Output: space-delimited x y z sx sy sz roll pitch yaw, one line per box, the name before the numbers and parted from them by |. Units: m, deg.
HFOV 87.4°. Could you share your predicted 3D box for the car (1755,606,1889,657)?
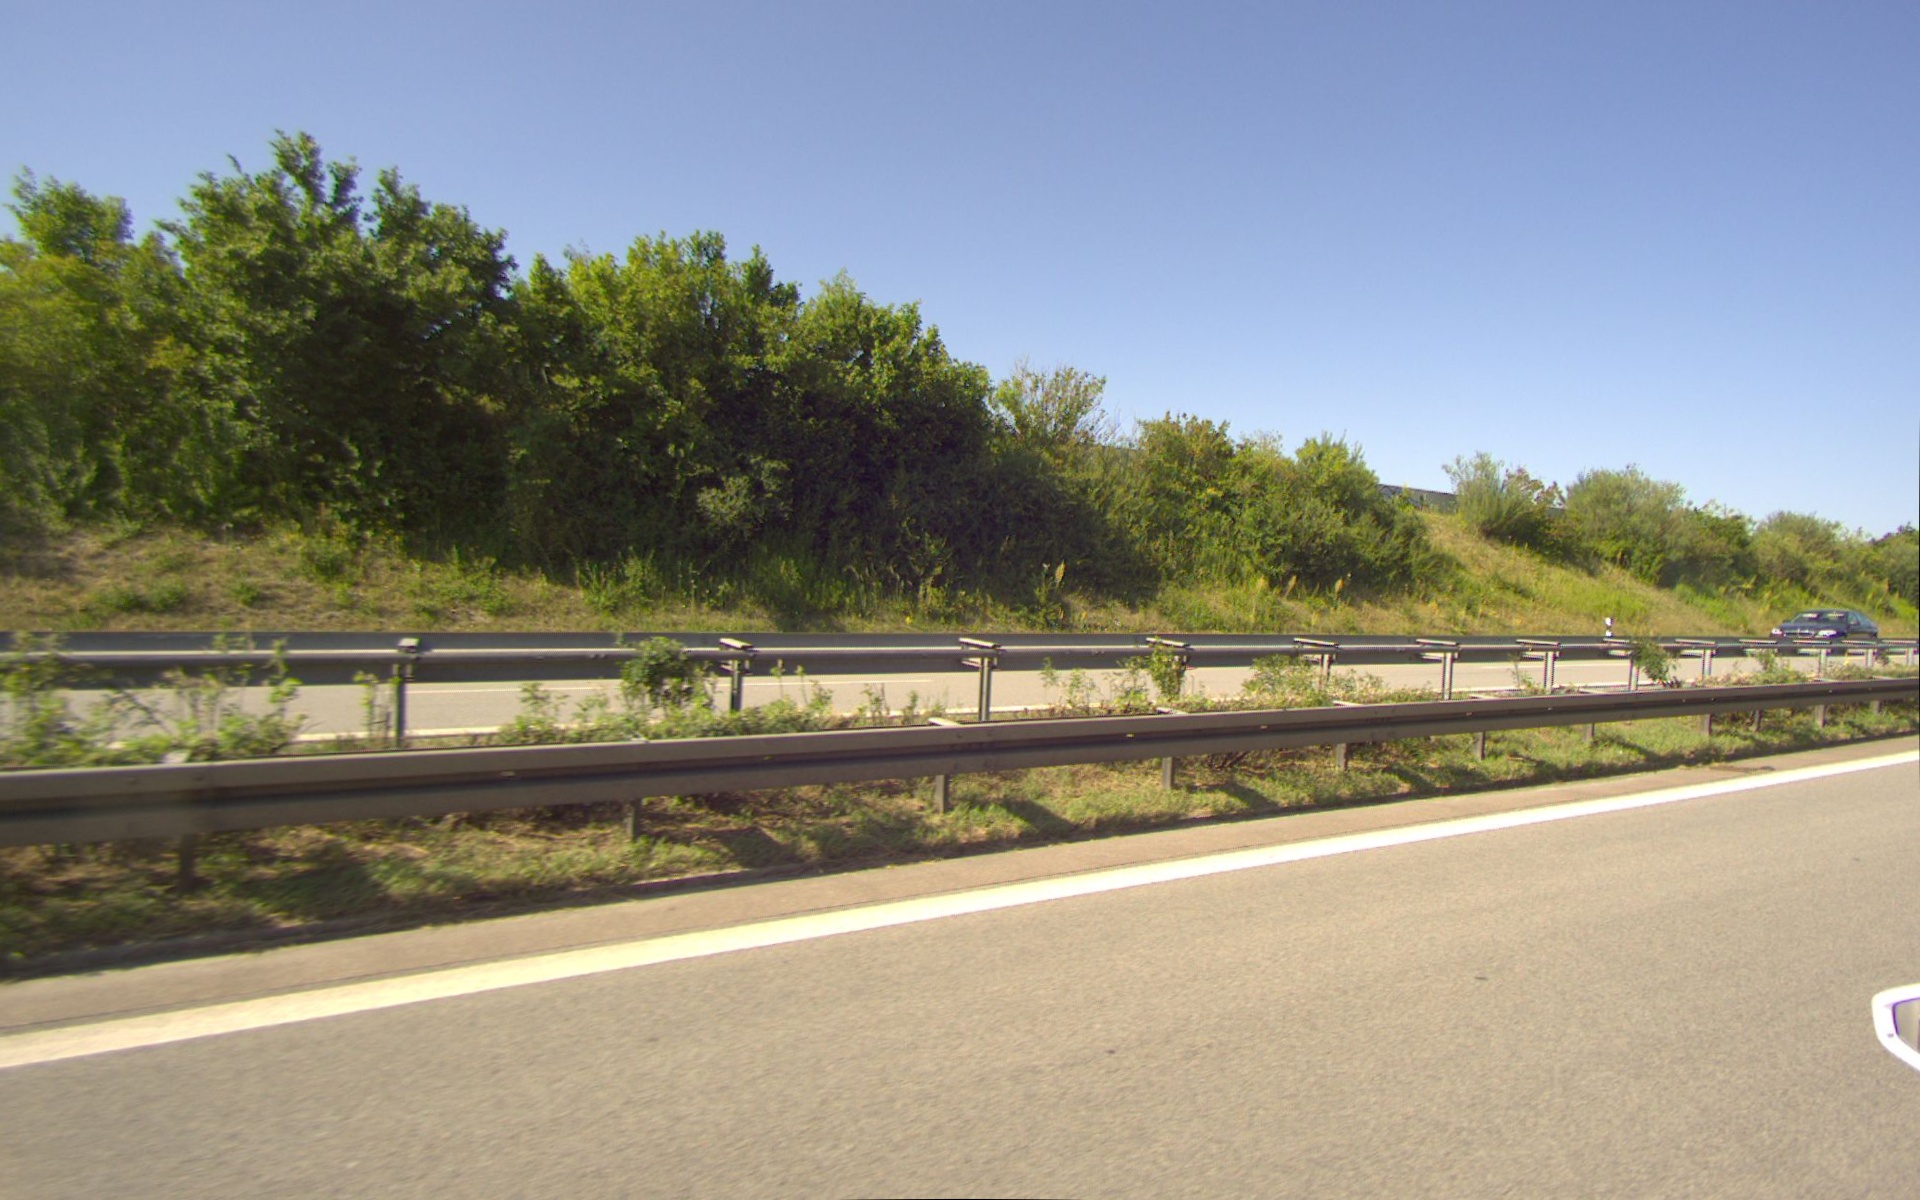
car | 28.885 1.042 33.605 5.115 1.585 1.957 2 -1 -32
